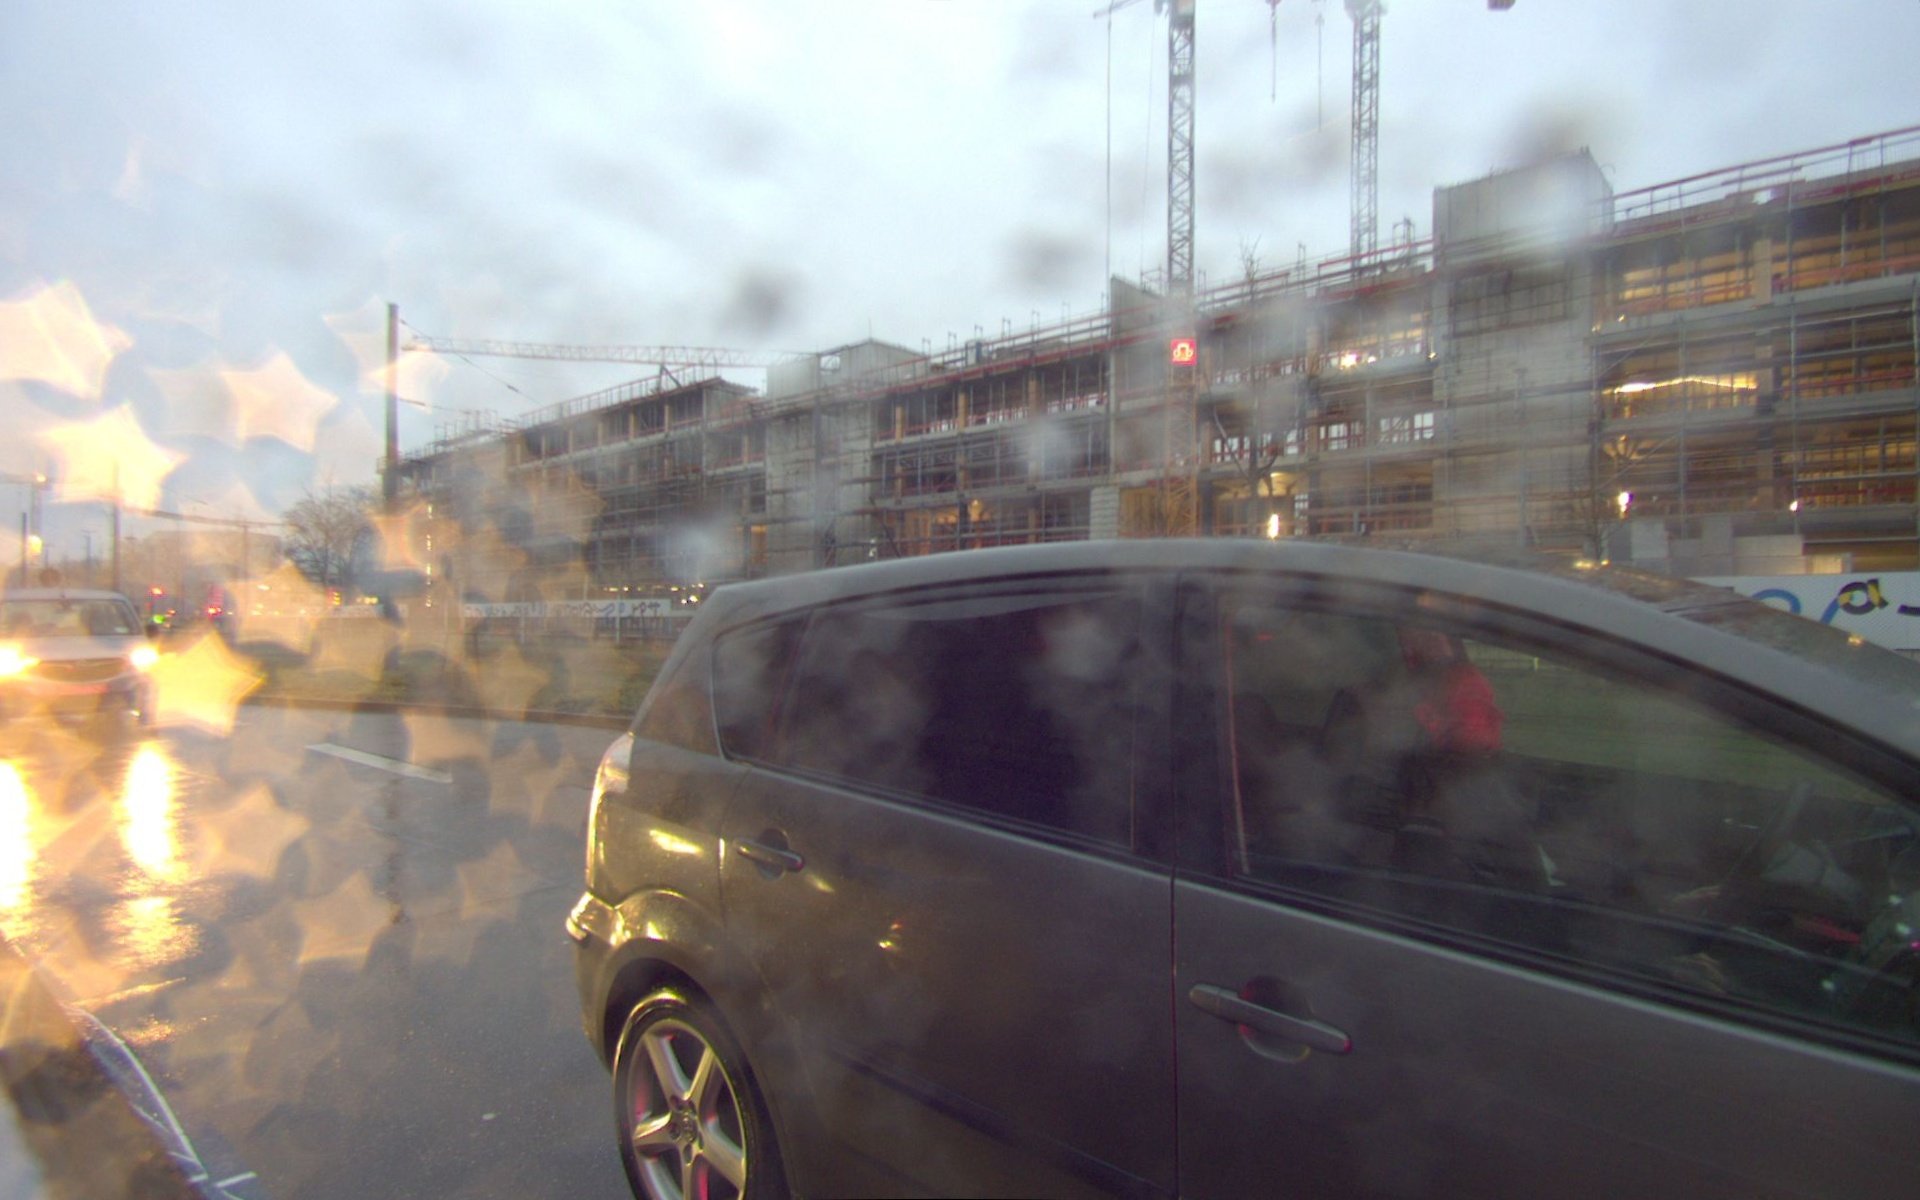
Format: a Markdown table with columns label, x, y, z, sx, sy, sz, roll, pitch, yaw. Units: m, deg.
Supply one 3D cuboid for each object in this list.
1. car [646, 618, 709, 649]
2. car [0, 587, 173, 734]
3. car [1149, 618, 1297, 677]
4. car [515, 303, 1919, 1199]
| label | x | y | z | sx | sy | sz | roll | pitch | yaw |
| --- | --- | --- | --- | --- | --- | --- | --- | --- | --- |
| car | -17.677 | 2.070 | 63.179 | 4.000 | 1.785 | 1.972 | -1 | 0 | 43 |
| car | -12.410 | 0.729 | 13.899 | 3.999 | 1.746 | 1.834 | -1 | 0 | 42 |
| car | 8.220 | 1.426 | 31.812 | 4.082 | 1.700 | 1.932 | -1 | 0 | 41 |
| car | 1.033 | 0.545 | 1.830 | 3.996 | 1.606 | 1.742 | -1 | 0 | 39 |
